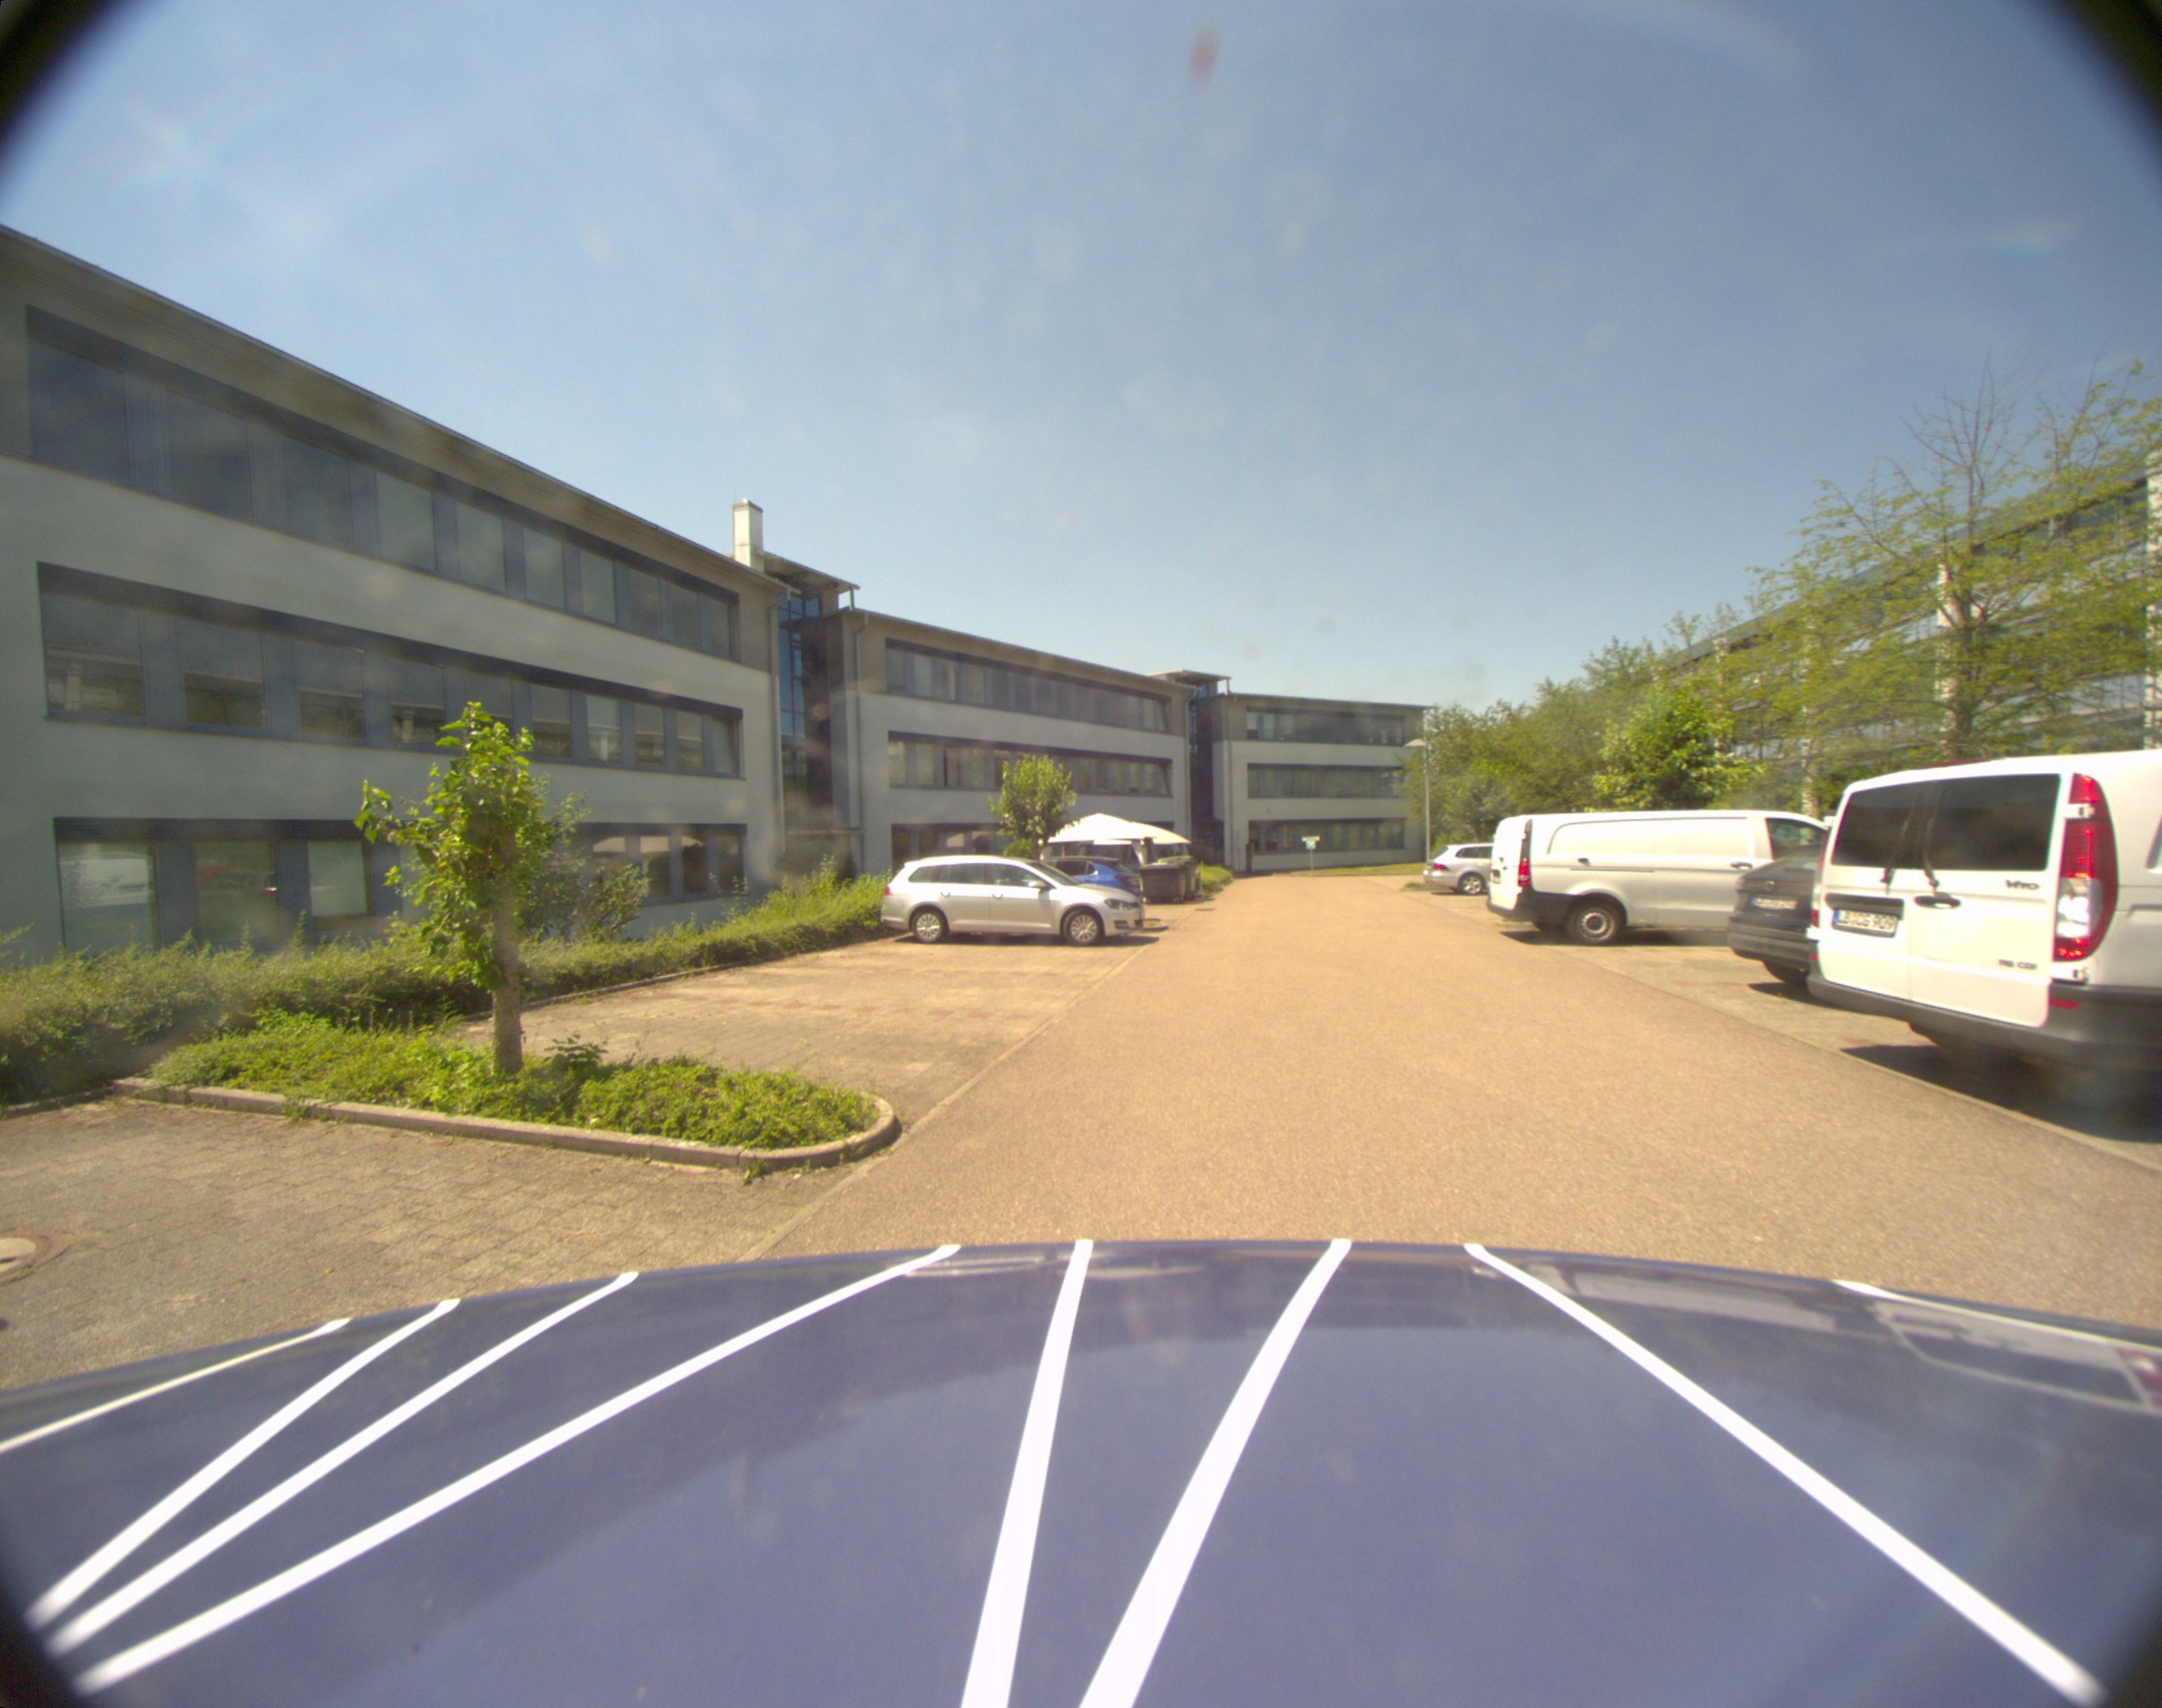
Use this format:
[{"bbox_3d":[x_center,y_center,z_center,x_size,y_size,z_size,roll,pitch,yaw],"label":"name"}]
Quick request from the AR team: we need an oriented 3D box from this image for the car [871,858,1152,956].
[{"bbox_3d":[-1.130,0.845,13.231,4.512,1.489,1.831,0,1,13],"label":"car"}]

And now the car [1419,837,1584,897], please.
[{"bbox_3d":[11.768,0.361,21.480,3.759,1.549,1.662,-1,1,13],"label":"car"}]

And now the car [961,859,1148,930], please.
[{"bbox_3d":[-0.529,0.838,16.752,3.820,1.384,1.653,0,1,13],"label":"car"}]

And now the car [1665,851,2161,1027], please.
[{"bbox_3d":[8.077,0.717,7.105,3.845,1.385,1.578,-1,1,13],"label":"car"}]

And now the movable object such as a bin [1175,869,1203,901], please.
[{"bbox_3d":[3.331,0.938,23.411,0.689,0.944,0.723,-1,1,19],"label":"movable object such as a bin"}]

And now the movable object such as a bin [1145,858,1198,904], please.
[{"bbox_3d":[2.711,0.804,22.629,1.362,1.288,1.044,-1,1,19],"label":"movable object such as a bin"}]

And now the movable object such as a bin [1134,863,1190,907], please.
[{"bbox_3d":[2.309,0.865,21.634,1.362,1.183,0.998,-1,1,19],"label":"movable object such as a bin"}]

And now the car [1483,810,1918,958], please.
[{"bbox_3d":[8.531,0.417,10.950,4.512,1.871,1.831,-1,1,13],"label":"car"}]

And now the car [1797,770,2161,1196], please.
[{"bbox_3d":[7.013,0.511,3.796,4.727,1.895,1.831,-1,1,13],"label":"car"}]
